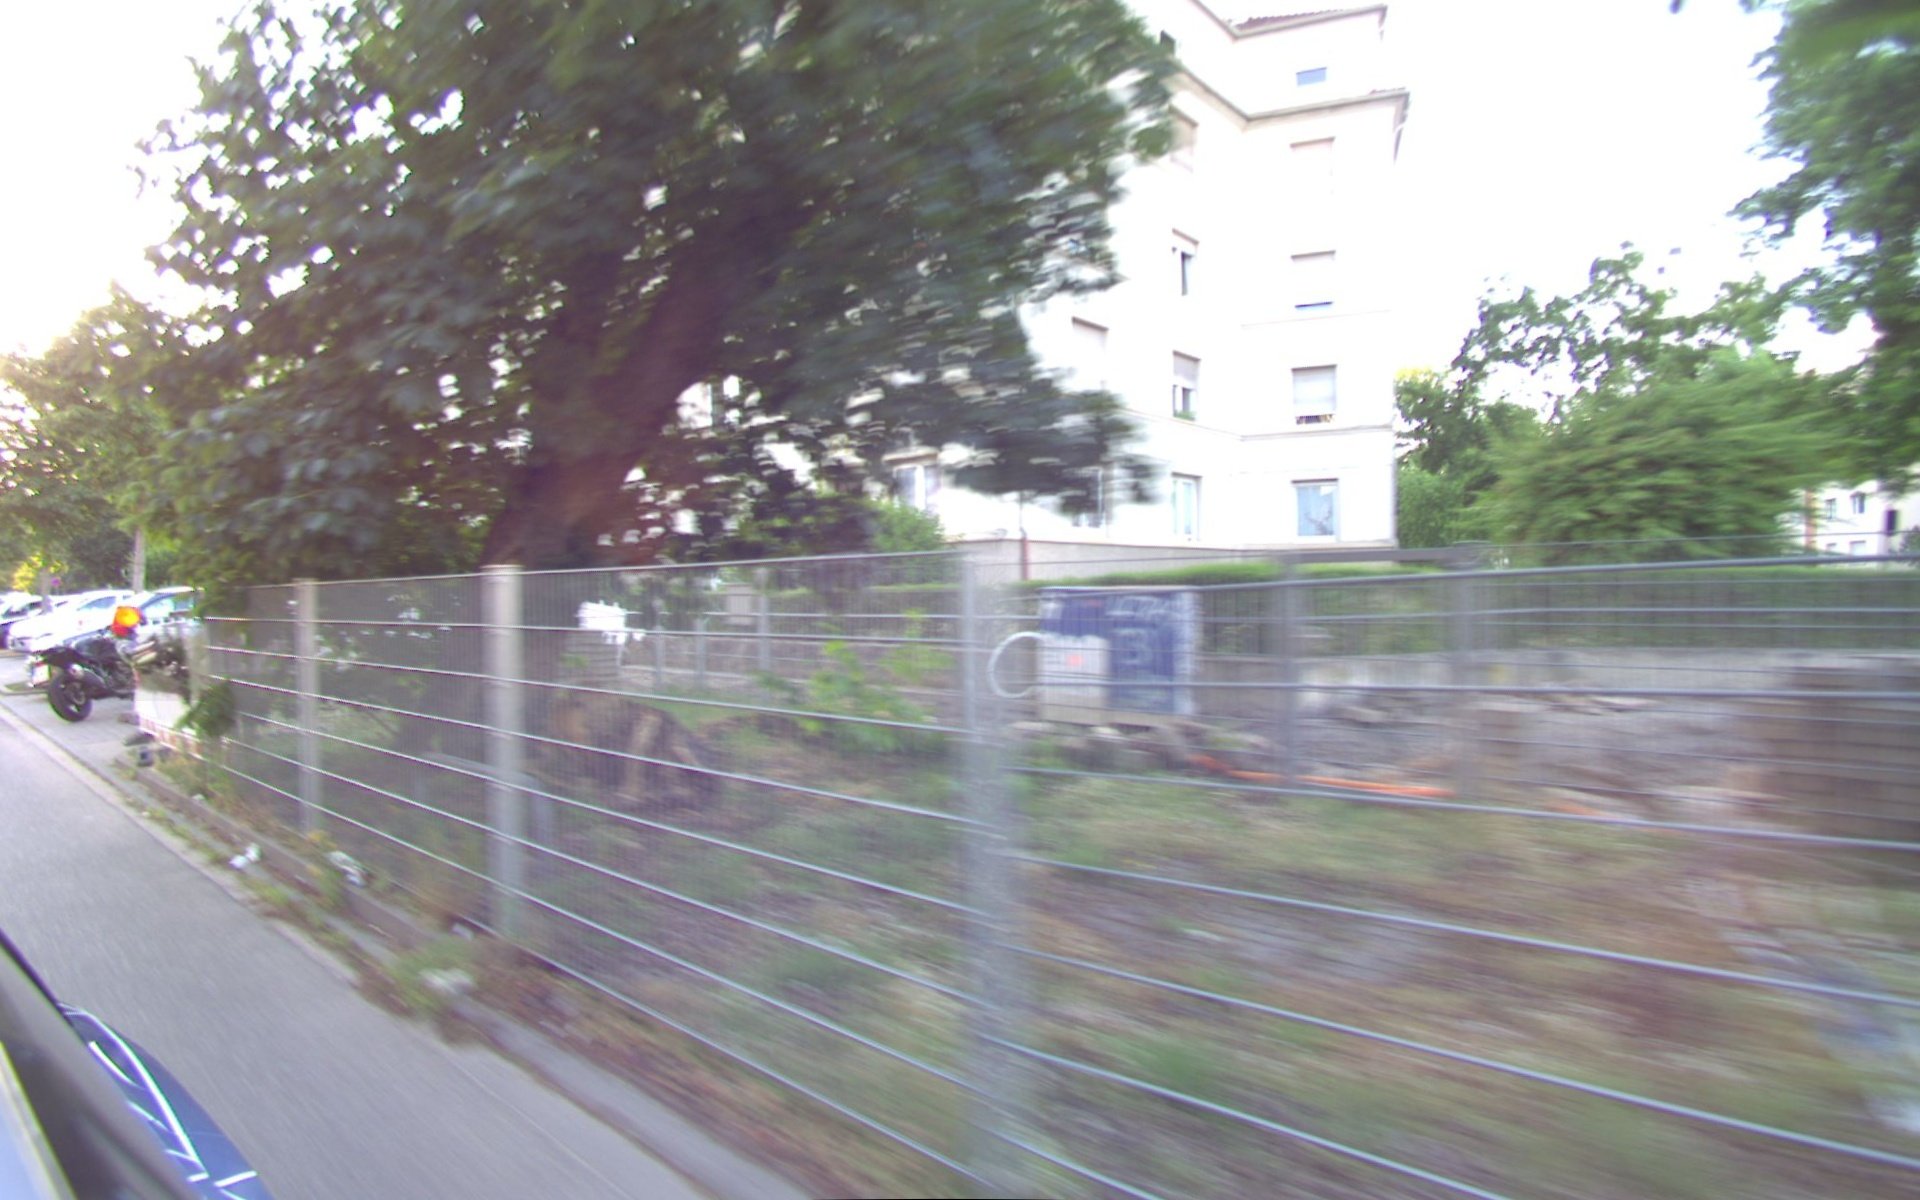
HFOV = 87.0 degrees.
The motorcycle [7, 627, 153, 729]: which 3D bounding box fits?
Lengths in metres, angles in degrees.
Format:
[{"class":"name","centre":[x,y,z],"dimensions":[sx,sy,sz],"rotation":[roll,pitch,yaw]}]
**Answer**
[{"class":"motorcycle","centre":[-10.961,0.922,12.702],"dimensions":[0.530,1.028,2.219],"rotation":[-4,2,-19]}]

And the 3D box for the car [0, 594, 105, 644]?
[{"class":"car","centre":[-29.743,0.585,32.242],"dimensions":[1.728,1.456,3.637],"rotation":[0,2,43]}]

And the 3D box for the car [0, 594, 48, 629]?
[{"class":"car","centre":[-43.588,0.568,45.442],"dimensions":[1.727,1.495,3.663],"rotation":[-1,2,40]}]

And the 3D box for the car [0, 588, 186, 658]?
[{"class":"car","centre":[-22.298,0.525,26.035],"dimensions":[1.725,1.578,3.443],"rotation":[0,2,37]}]

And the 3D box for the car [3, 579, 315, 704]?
[{"class":"car","centre":[-12.588,0.557,16.060],"dimensions":[1.692,1.568,3.586],"rotation":[-1,3,42]}]

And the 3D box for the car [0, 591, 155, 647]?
[{"class":"car","centre":[-27.181,0.538,31.087],"dimensions":[1.729,1.495,3.637],"rotation":[0,2,44]}]

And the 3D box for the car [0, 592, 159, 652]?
[{"class":"car","centre":[-25.290,0.594,28.608],"dimensions":[1.729,1.500,3.934],"rotation":[0,2,44]}]
